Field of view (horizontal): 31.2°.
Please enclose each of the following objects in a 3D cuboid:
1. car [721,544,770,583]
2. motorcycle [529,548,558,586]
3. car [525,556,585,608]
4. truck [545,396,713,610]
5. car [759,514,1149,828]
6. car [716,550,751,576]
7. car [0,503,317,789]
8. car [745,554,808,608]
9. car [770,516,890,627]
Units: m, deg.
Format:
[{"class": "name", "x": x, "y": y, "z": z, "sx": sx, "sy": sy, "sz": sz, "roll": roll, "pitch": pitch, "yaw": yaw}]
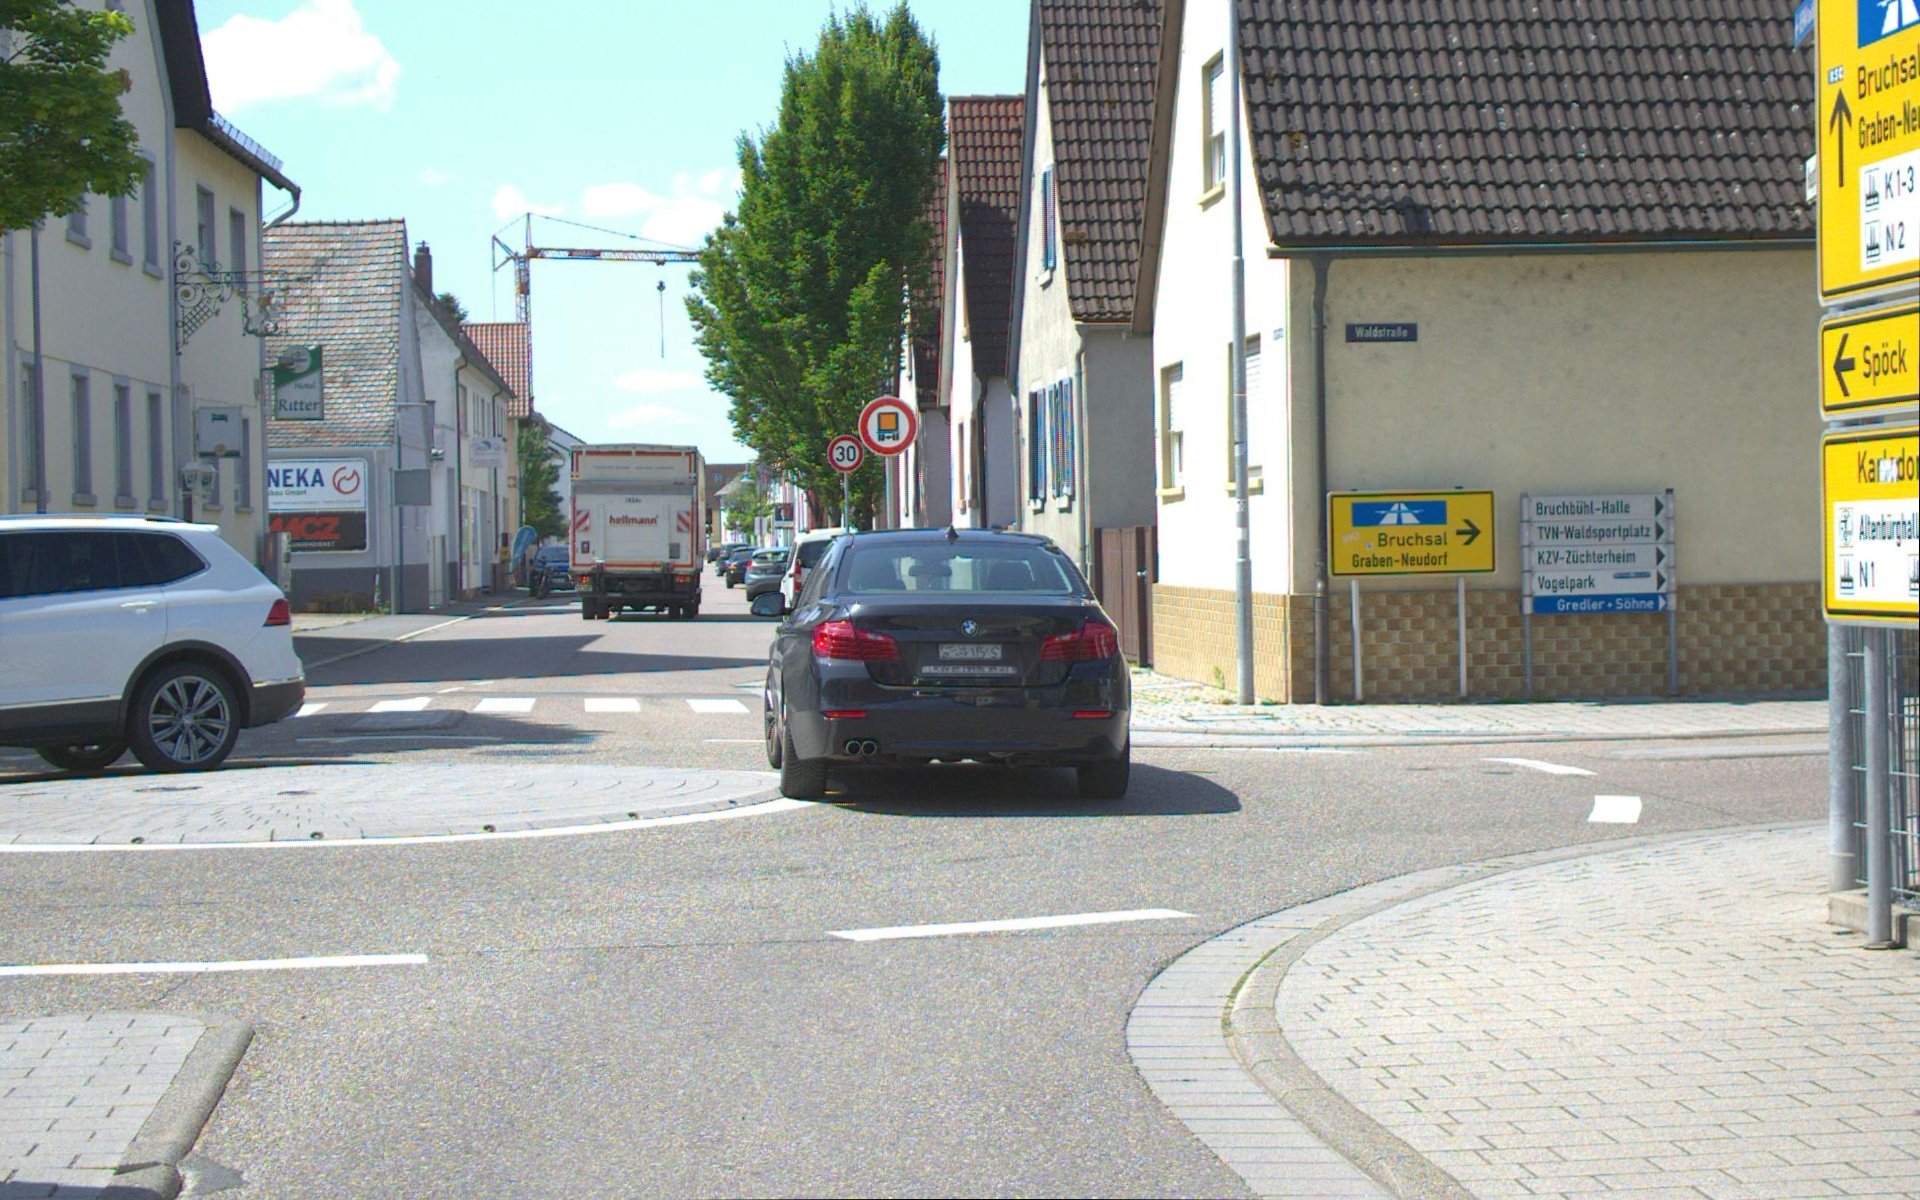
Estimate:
[{"class": "car", "x": -7.802, "y": -1.330, "z": 124.624, "sx": 1.719, "sy": 1.350, "sz": 4.157, "roll": 0, "pitch": 1, "yaw": -4}, {"class": "motorcycle", "x": -12.875, "y": -1.028, "z": 106.348, "sx": 0.846, "sy": 1.166, "sz": 2.470, "roll": 1, "pitch": 0, "yaw": -6}, {"class": "car", "x": -12.973, "y": -0.597, "z": 110.320, "sx": 1.809, "sy": 1.583, "sz": 4.001, "roll": 0, "pitch": 1, "yaw": -5}, {"class": "truck", "x": -6.955, "y": -1.974, "z": 73.410, "sx": 3.144, "sy": 4.236, "sz": 9.303, "roll": 1, "pitch": 0, "yaw": -3}, {"class": "car", "x": -0.157, "y": 0.308, "z": 19.516, "sx": 1.902, "sy": 1.558, "sz": 4.477, "roll": 0, "pitch": 1, "yaw": -4}, {"class": "car", "x": -11.443, "y": -1.859, "z": 173.670, "sx": 1.719, "sy": 1.264, "sz": 4.157, "roll": 0, "pitch": 1, "yaw": -4}, {"class": "car", "x": -6.499, "y": 0.287, "z": 21.377, "sx": 4.529, "sy": 1.704, "sz": 1.871, "roll": -2, "pitch": 1, "yaw": -38}, {"class": "car", "x": -5.139, "y": -0.539, "z": 96.443, "sx": 1.719, "sy": 1.456, "sz": 4.157, "roll": 0, "pitch": 1, "yaw": -3}, {"class": "car", "x": -2.286, "y": -0.518, "z": 59.629, "sx": 1.719, "sy": 1.784, "sz": 4.145, "roll": -2, "pitch": 1, "yaw": -6}]
